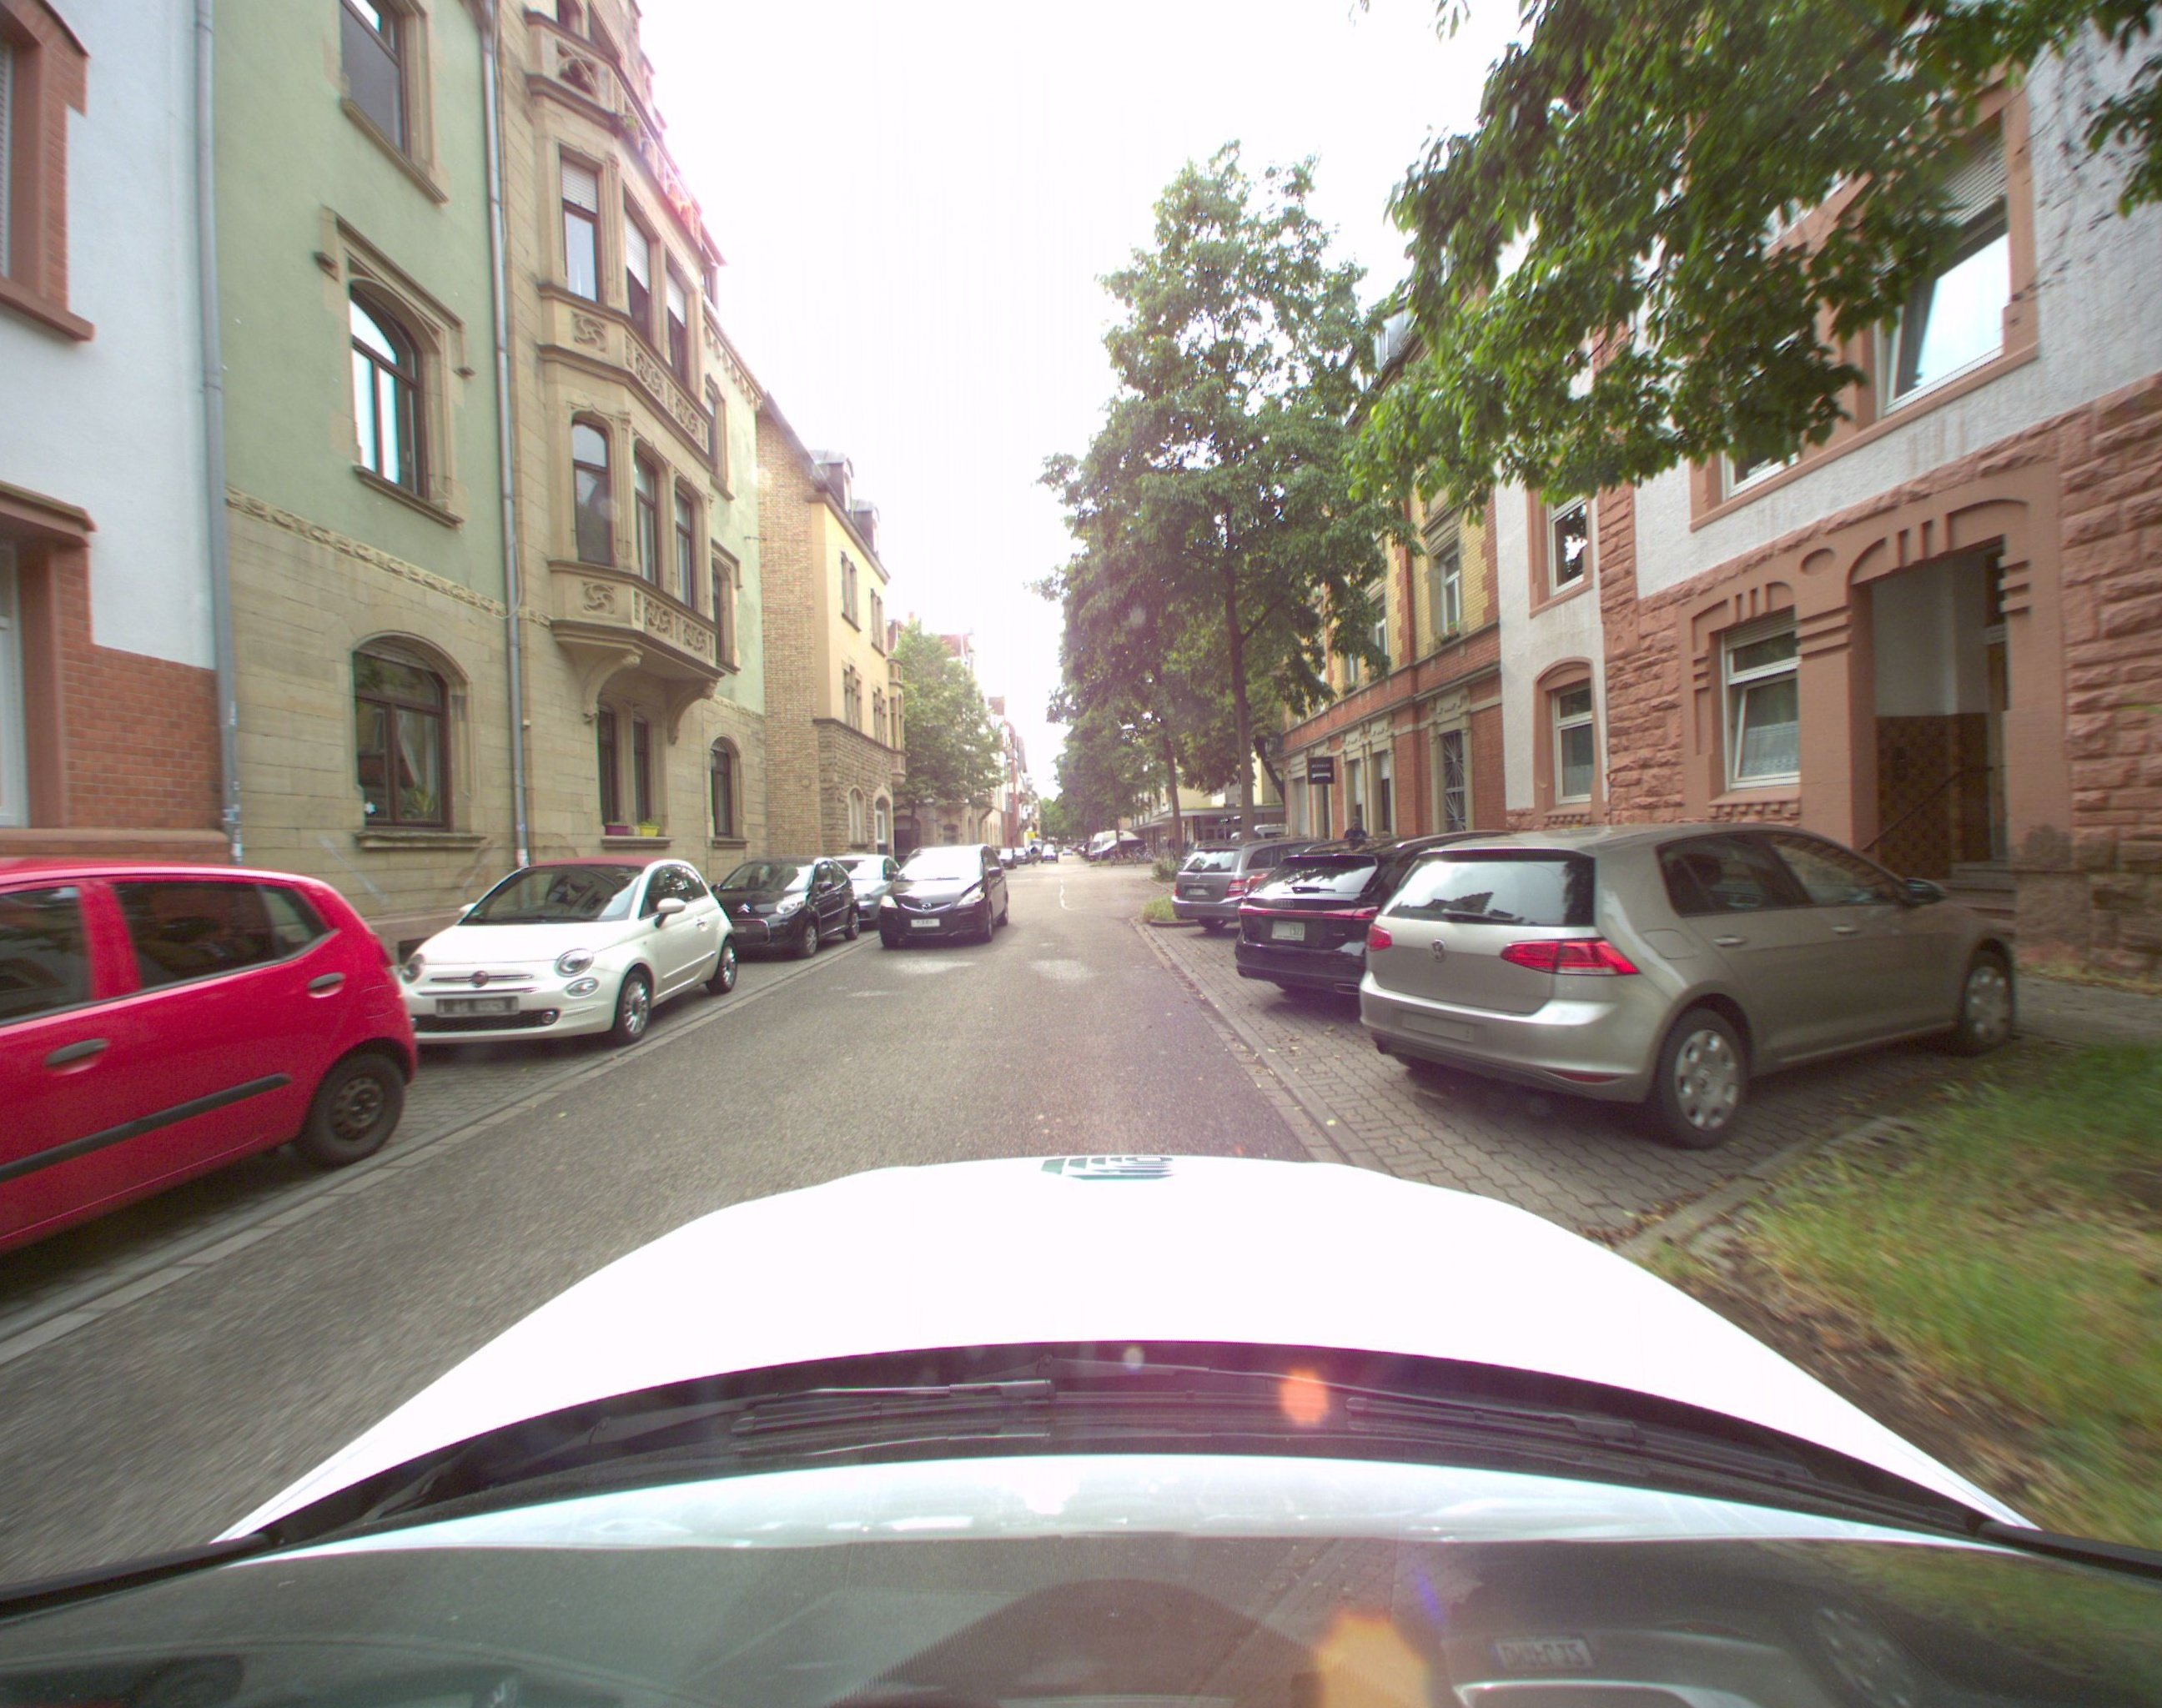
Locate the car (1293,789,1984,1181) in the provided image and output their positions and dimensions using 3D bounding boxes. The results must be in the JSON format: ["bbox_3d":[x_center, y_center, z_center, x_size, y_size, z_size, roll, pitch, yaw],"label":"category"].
[{"bbox_3d":[3.219,0.473,4.769,3.473,1.563,1.773,-2,1,-24],"label":"car"}]

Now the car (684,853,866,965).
[{"bbox_3d":[-4.555,0.728,12.643,1.512,1.434,3.455,-1,1,-1],"label":"car"}]

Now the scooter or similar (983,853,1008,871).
[{"bbox_3d":[-5.544,0.519,52.548,1.460,1.104,0.678,0,1,10],"label":"scooter or similar"}]

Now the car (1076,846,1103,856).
[{"bbox_3d":[1.406,-0.453,131.640,4.038,1.559,1.865,-2,0,-32],"label":"car"}]

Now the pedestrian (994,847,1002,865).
[{"bbox_3d":[-7.263,0.154,71.296,0.514,1.518,0.546,-2,0,-1],"label":"pedestrian"}]

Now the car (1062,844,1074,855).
[{"bbox_3d":[-2.250,-0.756,138.272,1.987,1.794,3.999,-1,-1,0],"label":"car"}]

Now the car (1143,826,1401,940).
[{"bbox_3d":[3.296,0.392,13.584,4.468,1.427,1.738,-5,1,-39],"label":"car"}]

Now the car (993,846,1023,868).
[{"bbox_3d":[-5.134,0.218,57.745,1.703,1.494,4.000,-1,-1,0],"label":"car"}]

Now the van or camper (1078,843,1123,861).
[{"bbox_3d":[2.357,-0.225,97.835,5.036,1.869,2.107,-4,0,-29],"label":"van or camper"}]

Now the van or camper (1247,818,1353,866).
[{"bbox_3d":[12.960,-0.744,48.447,5.742,2.493,2.140,-2,3,5],"label":"van or camper"}]

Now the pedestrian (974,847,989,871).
[{"bbox_3d":[-6.604,0.331,54.040,0.623,1.593,0.674,-1,1,40],"label":"pedestrian"}]

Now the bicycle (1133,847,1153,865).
[{"bbox_3d":[4.158,0.145,54.745,0.550,1.173,1.715,-2,1,-22],"label":"bicycle"}]

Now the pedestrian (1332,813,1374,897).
[{"bbox_3d":[5.809,0.011,17.430,0.596,1.733,0.663,-3,0,-3],"label":"pedestrian"}]

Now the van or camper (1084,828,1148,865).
[{"bbox_3d":[2.740,-0.611,63.489,4.615,2.595,1.891,-3,1,-34],"label":"van or camper"}]

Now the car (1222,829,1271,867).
[{"bbox_3d":[8.633,-0.337,42.749,1.763,1.819,4.002,-3,1,2],"label":"car"}]

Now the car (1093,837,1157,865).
[{"bbox_3d":[3.299,-0.221,61.200,4.355,1.854,1.894,-3,1,-26],"label":"car"}]

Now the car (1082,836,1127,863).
[{"bbox_3d":[2.120,-0.451,72.327,2.041,2.196,4.427,-3,1,30],"label":"car"}]

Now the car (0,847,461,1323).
[{"bbox_3d":[-4.266,0.765,2.889,1.461,1.530,3.565,-1,1,-2],"label":"car"}]

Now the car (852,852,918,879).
[{"bbox_3d":[-12.302,0.714,51.281,3.548,1.460,1.654,-3,2,8],"label":"car"}]

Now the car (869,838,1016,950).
[{"bbox_3d":[-2.255,0.571,14.393,1.803,1.630,4.208,-2,1,0],"label":"car"}]

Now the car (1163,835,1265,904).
[{"bbox_3d":[3.281,0.334,20.957,1.759,1.486,4.478,-4,1,-1],"label":"car"}]

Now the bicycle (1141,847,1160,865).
[{"bbox_3d":[4.715,0.144,55.153,0.550,1.173,1.685,-2,1,-22],"label":"bicycle"}]

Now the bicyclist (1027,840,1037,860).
[{"bbox_3d":[-3.829,-0.286,64.132,0.645,1.538,0.677,-3,0,1],"label":"bicyclist"}]

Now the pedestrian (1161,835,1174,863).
[{"bbox_3d":[5.656,-0.355,53.403,0.776,1.797,0.509,-1,0,1],"label":"pedestrian"}]

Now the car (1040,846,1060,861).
[{"bbox_3d":[-2.961,-0.030,78.501,1.703,1.413,3.851,-3,-1,-1],"label":"car"}]

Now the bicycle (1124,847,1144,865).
[{"bbox_3d":[3.530,0.149,54.433,0.550,1.173,1.715,-2,1,-22],"label":"bicycle"}]

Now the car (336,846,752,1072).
[{"bbox_3d":[-4.460,0.710,7.487,1.663,1.511,3.547,-2,1,-5],"label":"car"}]

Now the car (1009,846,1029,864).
[{"bbox_3d":[-5.478,0.077,72.528,1.642,1.570,2.955,-1,1,-2],"label":"car"}]

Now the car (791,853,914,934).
[{"bbox_3d":[-4.611,0.722,16.969,1.585,1.434,3.807,-1,1,-2],"label":"car"}]

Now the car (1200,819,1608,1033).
[{"bbox_3d":[3.117,0.499,7.675,3.708,1.466,1.688,-3,1,-33],"label":"car"}]

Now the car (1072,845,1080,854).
[{"bbox_3d":[-1.303,-1.109,202.016,1.988,2.013,3.998,1,0,-1],"label":"car"}]

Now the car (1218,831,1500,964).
[{"bbox_3d":[3.900,0.469,11.174,3.902,1.435,1.727,-3,1,-37],"label":"car"}]

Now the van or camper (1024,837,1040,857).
[{"bbox_3d":[-7.124,-1.048,118.289,2.002,2.650,5.316,0,4,-1],"label":"van or camper"}]

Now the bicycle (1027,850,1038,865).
[{"bbox_3d":[-3.803,0.279,64.148,0.631,1.094,1.799,-2,0,1],"label":"bicycle"}]

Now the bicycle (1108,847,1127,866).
[{"bbox_3d":[2.374,0.154,53.704,0.550,1.173,1.715,-2,1,-22],"label":"bicycle"}]
